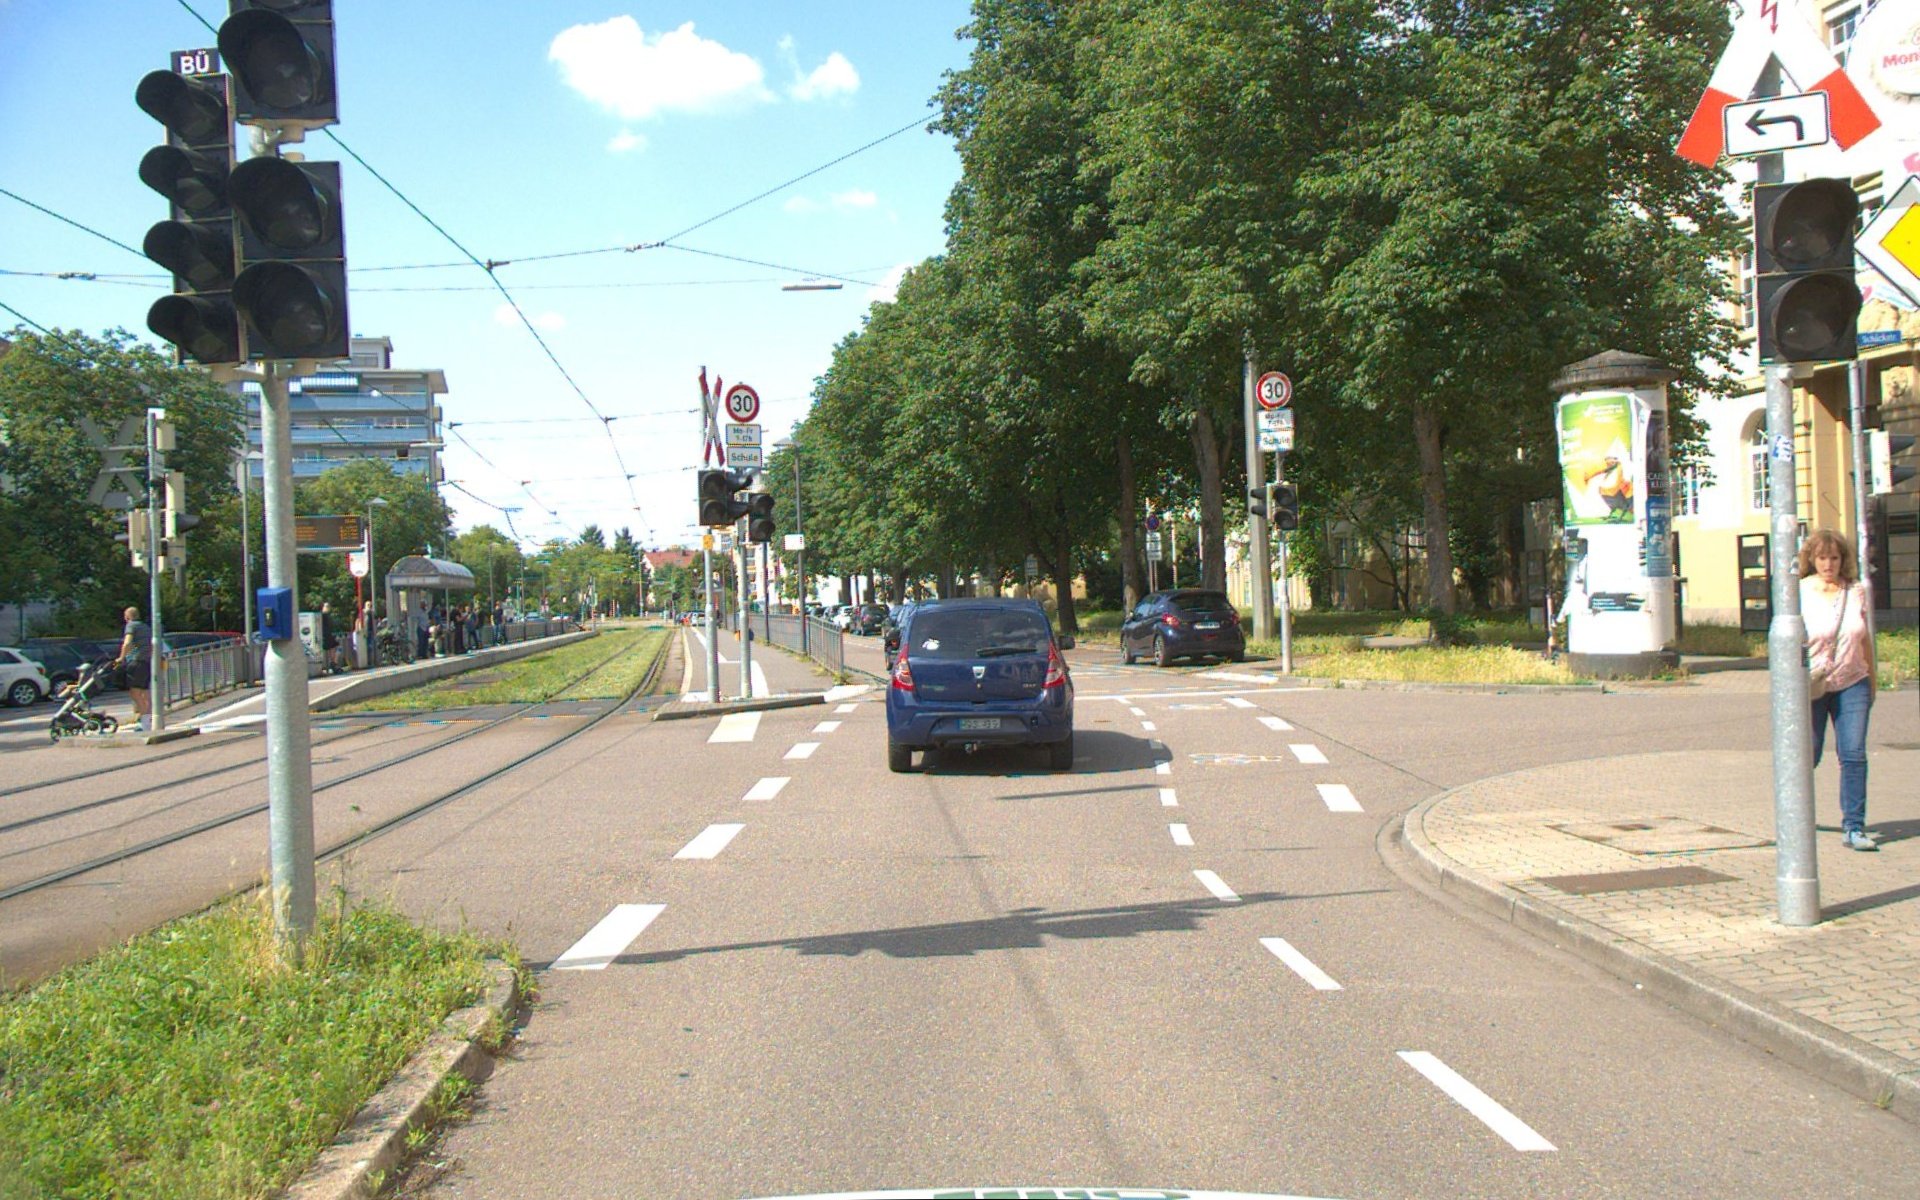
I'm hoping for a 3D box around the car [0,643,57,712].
[{"bbox_3d":[-23.267,1.876,38.772,1.517,1.531,3.368,-3,0,43],"label":"car"}]

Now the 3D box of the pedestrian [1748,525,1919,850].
[{"bbox_3d":[4.744,0.462,8.996,0.658,1.677,0.764,-3,-1,19],"label":"pedestrian"}]

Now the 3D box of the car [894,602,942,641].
[{"bbox_3d":[-1.789,0.877,69.438,1.815,1.542,3.997,-2,0,-4],"label":"car"}]

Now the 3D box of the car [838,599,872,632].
[{"bbox_3d":[-6.076,0.895,95.606,1.587,1.780,3.992,-2,0,-8],"label":"car"}]

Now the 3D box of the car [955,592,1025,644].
[{"bbox_3d":[0.914,0.566,53.128,1.825,1.470,3.997,-4,0,-4],"label":"car"}]

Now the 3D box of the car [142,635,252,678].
[{"bbox_3d":[-27.155,2.002,58.931,1.426,1.332,3.236,-2,0,35],"label":"car"}]

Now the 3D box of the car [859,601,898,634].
[{"bbox_3d":[-4.057,0.868,81.921,1.825,1.470,3.997,-4,0,-4],"label":"car"}]

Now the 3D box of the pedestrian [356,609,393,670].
[{"bbox_3d":[-15.854,1.075,44.810,0.650,1.596,0.685,-4,0,-1],"label":"pedestrian"}]

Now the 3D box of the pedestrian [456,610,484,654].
[{"bbox_3d":[-16.870,1.109,56.973,0.641,1.450,0.562,-3,0,28],"label":"pedestrian"}]

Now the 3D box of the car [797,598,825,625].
[{"bbox_3d":[-10.288,0.799,114.385,1.794,1.792,3.997,-2,0,-4],"label":"car"}]

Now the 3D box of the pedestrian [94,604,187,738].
[{"bbox_3d":[-11.717,0.999,23.687,0.856,1.806,1.000,-4,0,-12],"label":"pedestrian"}]

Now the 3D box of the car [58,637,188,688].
[{"bbox_3d":[-25.339,1.887,50.139,1.425,1.332,3.238,-2,0,32],"label":"car"}]

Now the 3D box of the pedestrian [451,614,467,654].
[{"bbox_3d":[-19.088,1.288,62.985,0.480,1.477,0.461,-3,0,-19],"label":"pedestrian"}]

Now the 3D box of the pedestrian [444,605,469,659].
[{"bbox_3d":[-17.154,1.073,56.321,0.592,1.796,0.639,-2,0,0],"label":"pedestrian"}]

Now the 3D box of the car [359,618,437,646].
[{"bbox_3d":[-31.850,1.795,93.750,1.606,1.410,3.986,-2,0,35],"label":"car"}]

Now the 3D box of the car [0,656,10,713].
[{"bbox_3d":[-22.645,1.931,35.706,1.516,1.258,3.370,-3,0,41],"label":"car"}]

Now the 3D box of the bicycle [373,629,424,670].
[{"bbox_3d":[-15.182,1.332,44.770,0.672,0.991,1.771,-5,0,1],"label":"bicycle"}]

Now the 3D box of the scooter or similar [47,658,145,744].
[{"bbox_3d":[-12.104,1.405,23.201,0.937,1.083,0.795,-4,0,-10],"label":"scooter or similar"}]

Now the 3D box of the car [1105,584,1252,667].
[{"bbox_3d":[4.245,0.484,32.747,1.733,1.458,3.895,-3,0,-10],"label":"car"}]

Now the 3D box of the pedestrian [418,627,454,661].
[{"bbox_3d":[-16.722,1.414,52.828,0.907,1.006,0.796,-4,-2,-7],"label":"pedestrian"}]

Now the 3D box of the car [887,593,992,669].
[{"bbox_3d":[-0.463,0.588,33.539,1.668,1.392,3.508,-1,1,-8],"label":"car"}]

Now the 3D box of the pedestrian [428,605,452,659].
[{"bbox_3d":[-17.393,1.072,55.330,0.582,1.766,0.556,-3,0,-5],"label":"pedestrian"}]

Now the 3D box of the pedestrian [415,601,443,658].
[{"bbox_3d":[-16.474,0.908,51.283,0.643,1.722,0.655,-3,0,-9],"label":"pedestrian"}]

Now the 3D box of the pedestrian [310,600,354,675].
[{"bbox_3d":[-15.117,0.901,39.813,0.699,1.756,0.666,-2,0,33],"label":"pedestrian"}]

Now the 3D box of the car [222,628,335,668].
[{"bbox_3d":[-28.346,1.969,68.857,1.684,1.391,3.980,-3,0,39],"label":"car"}]

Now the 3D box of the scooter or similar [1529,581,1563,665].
[{"bbox_3d":[8.680,0.324,24.516,0.299,1.210,1.163,-2,0,14],"label":"scooter or similar"}]

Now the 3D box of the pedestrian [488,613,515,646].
[{"bbox_3d":[-21.101,1.352,76.090,1.015,1.462,0.698,-4,1,-24],"label":"pedestrian"}]

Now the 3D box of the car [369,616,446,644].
[{"bbox_3d":[-33.005,1.808,98.876,3.970,1.472,1.700,-3,0,-44],"label":"car"}]

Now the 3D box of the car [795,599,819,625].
[{"bbox_3d":[-11.178,0.834,120.729,1.635,1.803,3.996,-2,0,-5],"label":"car"}]

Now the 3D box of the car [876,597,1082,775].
[{"bbox_3d":[0.154,0.733,16.014,1.732,1.487,3.775,-1,0,0],"label":"car"}]

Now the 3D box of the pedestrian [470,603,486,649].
[{"bbox_3d":[-18.312,0.989,62.859,0.480,1.742,0.461,-3,0,-19],"label":"pedestrian"}]

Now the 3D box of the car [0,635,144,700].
[{"bbox_3d":[-24.164,1.798,44.066,1.660,1.482,3.979,-3,0,40],"label":"car"}]

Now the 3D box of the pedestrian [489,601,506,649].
[{"bbox_3d":[-20.115,1.066,71.906,0.650,2.049,0.800,-2,0,-17],"label":"pedestrian"}]

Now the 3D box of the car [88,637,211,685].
[{"bbox_3d":[-25.950,1.948,53.006,1.426,1.332,3.236,-2,0,35],"label":"car"}]

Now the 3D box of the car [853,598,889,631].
[{"bbox_3d":[-4.731,0.753,87.486,1.792,1.564,3.997,-3,0,-4],"label":"car"}]
